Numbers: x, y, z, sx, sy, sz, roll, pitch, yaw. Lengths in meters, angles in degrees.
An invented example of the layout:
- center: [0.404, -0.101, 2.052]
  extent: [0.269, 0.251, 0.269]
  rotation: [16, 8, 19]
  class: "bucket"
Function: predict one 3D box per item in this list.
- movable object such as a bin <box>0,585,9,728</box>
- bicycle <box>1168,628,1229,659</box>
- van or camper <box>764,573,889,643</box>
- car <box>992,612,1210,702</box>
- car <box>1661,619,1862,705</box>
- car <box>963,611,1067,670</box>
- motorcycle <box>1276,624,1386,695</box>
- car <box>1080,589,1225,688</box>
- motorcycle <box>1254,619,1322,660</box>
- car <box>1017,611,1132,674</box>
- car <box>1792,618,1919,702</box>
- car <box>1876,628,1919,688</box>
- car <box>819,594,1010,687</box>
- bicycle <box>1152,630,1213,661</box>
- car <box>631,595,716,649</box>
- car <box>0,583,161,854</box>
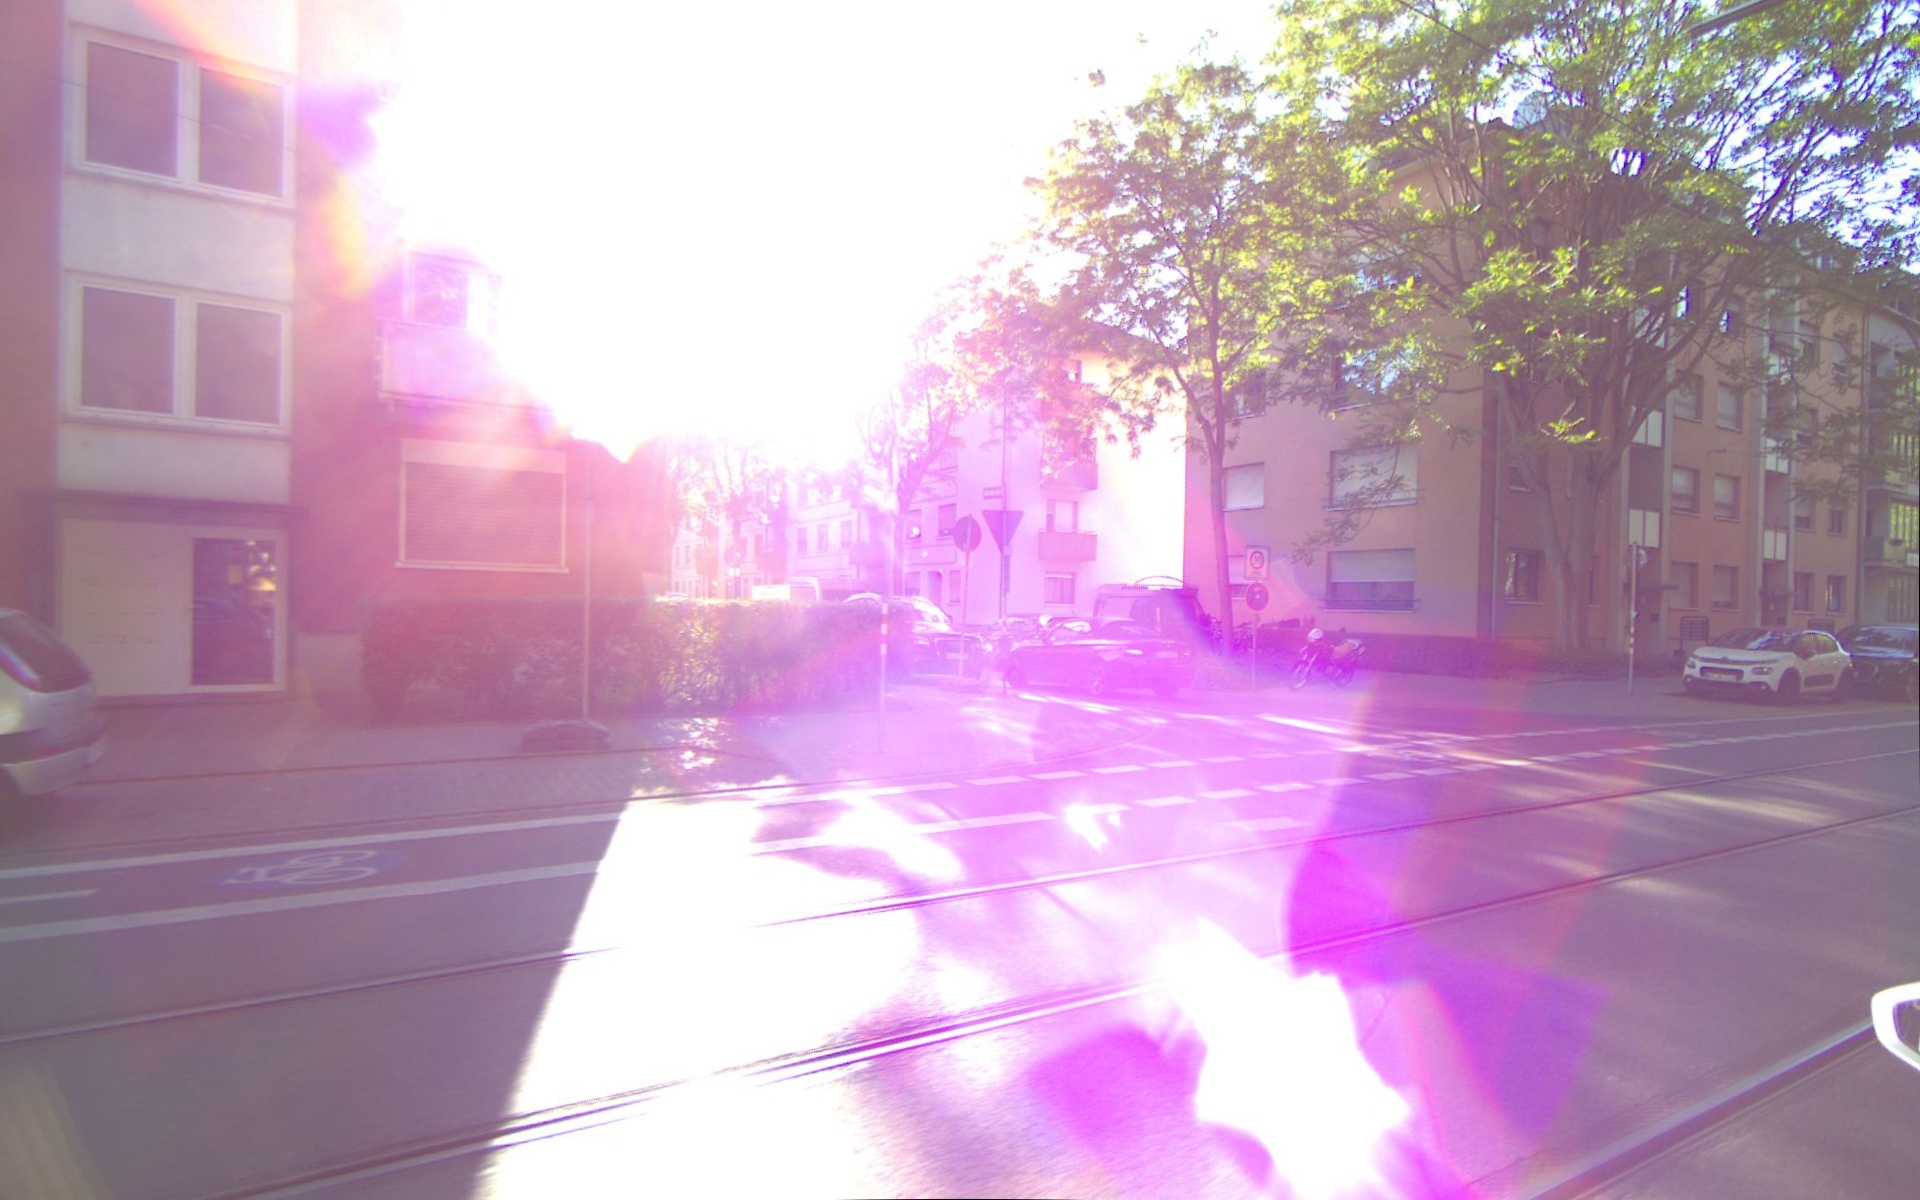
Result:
- center: [-9.406, 0.541, 9.165]
  extent: [0.738, 1.383, 1.206]
  rotation: [1, -1, -29]
  class: "movable object such as a bin"
- center: [7.029, 1.274, 29.633]
  extent: [1.848, 0.883, 0.605]
  rotation: [1, 0, -31]
  class: "bicycle"
- center: [-5.339, 0.347, 41.069]
  extent: [2.217, 2.664, 5.540]
  rotation: [1, -1, 28]
  class: "van or camper"
- center: [2.506, 1.003, 18.902]
  extent: [1.778, 1.407, 4.200]
  rotation: [3, -1, -32]
  class: "car"
- center: [16.392, 1.230, 20.517]
  extent: [4.041, 1.498, 1.797]
  rotation: [2, 2, -30]
  class: "car"
- center: [1.647, 1.137, 29.146]
  extent: [1.606, 1.564, 3.312]
  rotation: [1, 0, 31]
  class: "car"
- center: [7.597, 1.184, 20.525]
  extent: [2.323, 1.298, 0.897]
  rotation: [-1, 1, -33]
  class: "motorcycle"
- center: [4.849, 0.884, 24.713]
  extent: [1.965, 2.151, 4.713]
  rotation: [2, 0, 31]
  class: "car"
- center: [9.467, 1.136, 28.979]
  extent: [2.043, 1.144, 0.691]
  rotation: [1, 0, -31]
  class: "motorcycle"
- center: [3.155, 1.100, 27.080]
  extent: [1.723, 1.538, 3.608]
  rotation: [1, -1, 31]
  class: "car"
- center: [21.134, 1.314, 23.033]
  extent: [4.537, 1.632, 1.771]
  rotation: [1, 3, -32]
  class: "car"
- center: [25.435, 1.495, 25.764]
  extent: [4.334, 1.420, 1.728]
  rotation: [1, 2, -32]
  class: "car"
- center: [-1.046, 0.736, 19.973]
  extent: [1.915, 1.628, 4.512]
  rotation: [3, -1, -30]
  class: "car"
- center: [6.690, 1.361, 30.193]
  extent: [1.848, 0.883, 0.637]
  rotation: [1, 0, -31]
  class: "bicycle"
- center: [-10.230, 0.744, 35.615]
  extent: [1.894, 1.746, 4.288]
  rotation: [3, -1, -30]
  class: "car"
- center: [-7.187, 0.649, 5.740]
  extent: [3.886, 1.503, 1.715]
  rotation: [1, 2, -32]
  class: "car"
